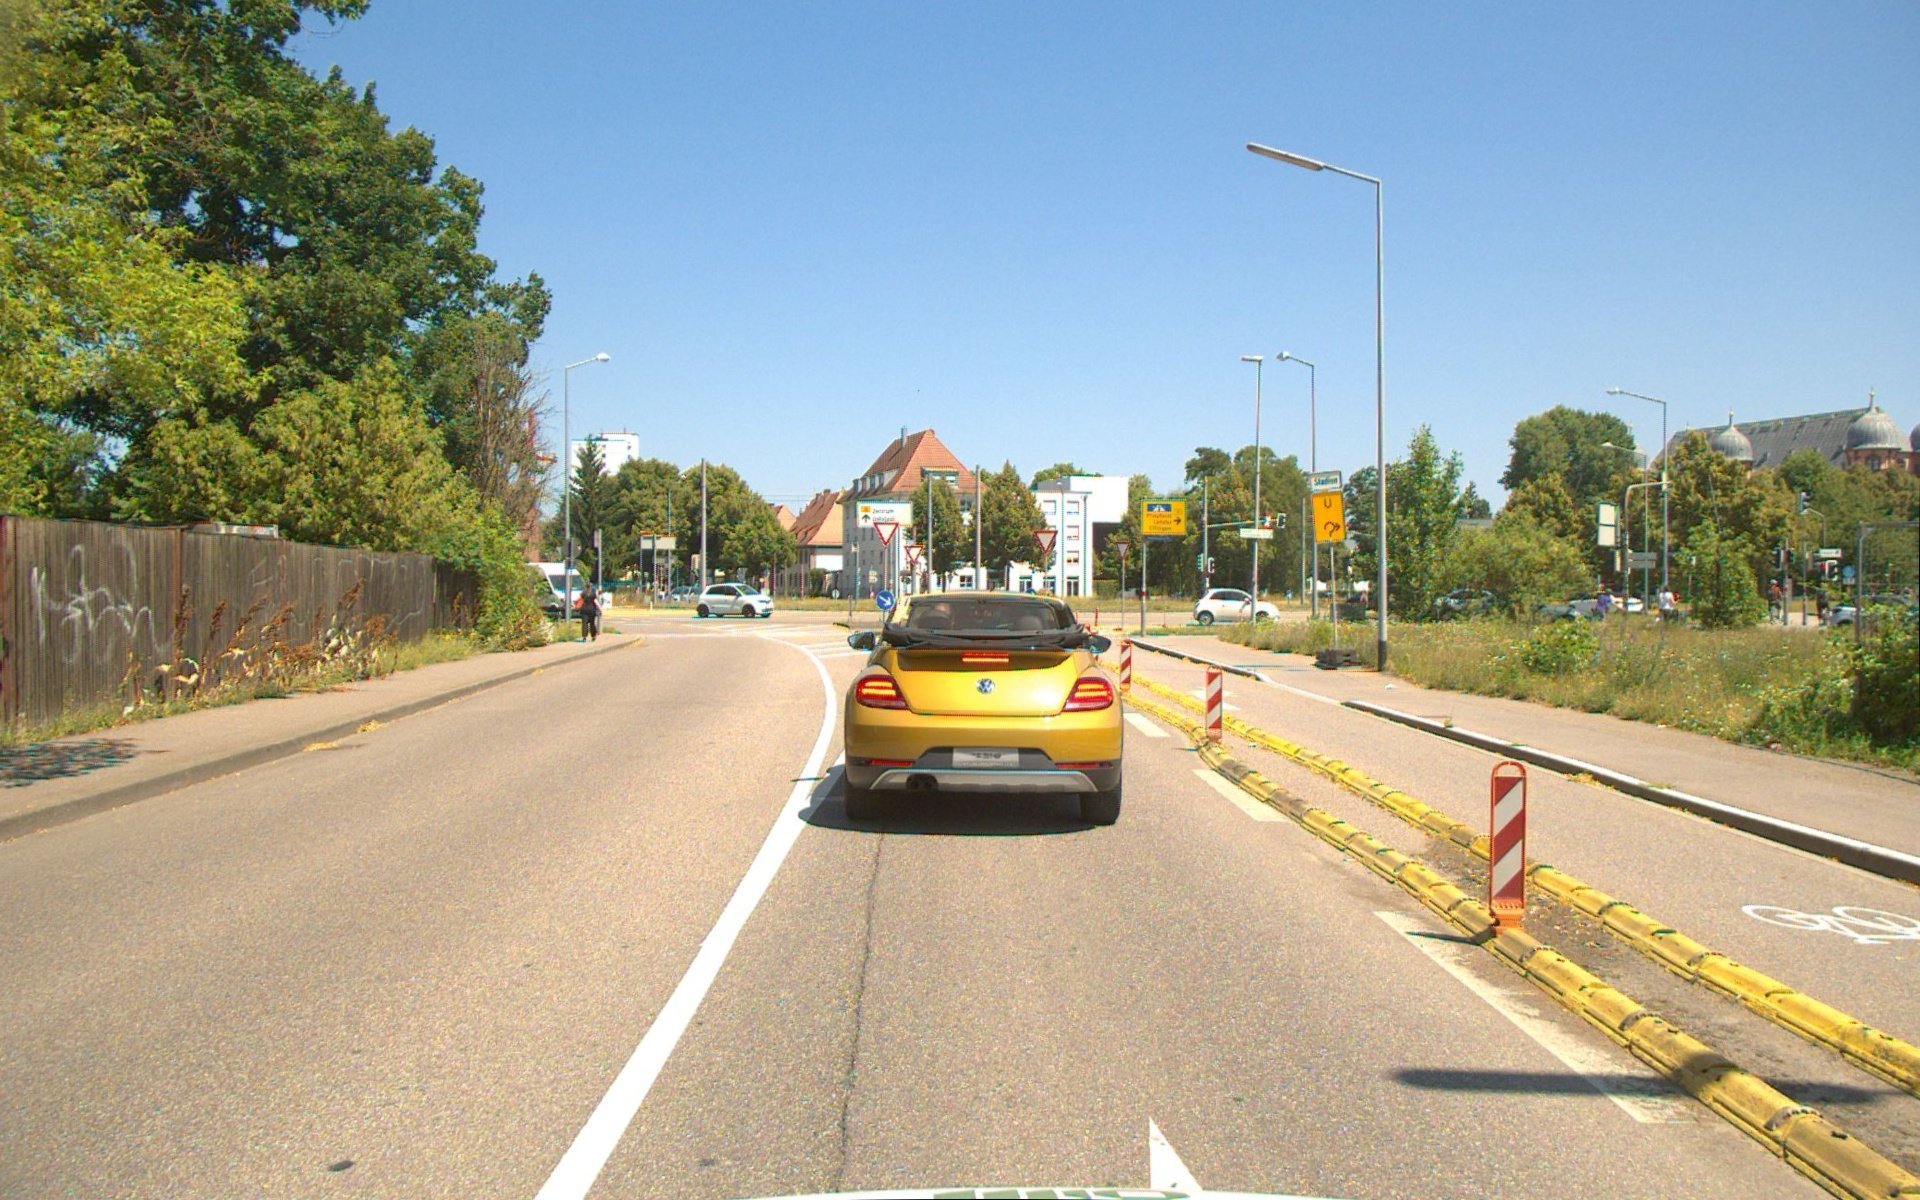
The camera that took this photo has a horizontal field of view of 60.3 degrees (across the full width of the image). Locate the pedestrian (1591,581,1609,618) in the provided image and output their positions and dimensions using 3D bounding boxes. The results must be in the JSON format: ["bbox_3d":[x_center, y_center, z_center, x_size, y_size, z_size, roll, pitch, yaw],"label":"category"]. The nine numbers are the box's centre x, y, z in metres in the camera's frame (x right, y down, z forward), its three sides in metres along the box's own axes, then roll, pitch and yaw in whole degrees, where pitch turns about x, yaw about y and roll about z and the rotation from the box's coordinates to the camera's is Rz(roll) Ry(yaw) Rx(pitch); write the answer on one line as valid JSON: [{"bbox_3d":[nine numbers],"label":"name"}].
[{"bbox_3d":[23.263,-0.032,60.109,0.590,1.334,0.546,0,0,20],"label":"pedestrian"}]

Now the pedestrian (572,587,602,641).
[{"bbox_3d":[-10.317,0.390,45.778,0.708,1.479,0.817,0,0,-5],"label":"pedestrian"}]

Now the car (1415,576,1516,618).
[{"bbox_3d":[21.905,-0.124,71.783,3.986,1.774,1.568,0,0,8],"label":"car"}]

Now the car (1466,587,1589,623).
[{"bbox_3d":[21.834,0.181,63.772,4.345,1.381,1.538,0,0,15],"label":"car"}]

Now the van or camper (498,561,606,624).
[{"bbox_3d":[-18.109,-0.333,73.104,2.058,2.622,6.587,0,0,-39],"label":"van or camper"}]

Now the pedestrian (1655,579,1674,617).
[{"bbox_3d":[24.802,-0.066,58.235,0.535,1.334,0.603,0,0,31],"label":"pedestrian"}]

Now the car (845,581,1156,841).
[{"bbox_3d":[0.172,0.615,11.236,1.754,1.462,3.812,0,0,-2],"label":"car"}]

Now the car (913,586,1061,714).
[{"bbox_3d":[0.310,0.563,20.932,1.691,1.468,4.000,0,0,0],"label":"car"}]

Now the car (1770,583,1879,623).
[{"bbox_3d":[31.040,0.092,59.385,3.267,1.381,1.390,0,0,41],"label":"car"}]

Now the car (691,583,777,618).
[{"bbox_3d":[-10.388,0.007,76.077,3.623,1.598,1.681,0,0,26],"label":"car"}]

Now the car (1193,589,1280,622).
[{"bbox_3d":[11.143,0.213,66.625,3.364,1.298,1.203,0,0,13],"label":"car"}]
